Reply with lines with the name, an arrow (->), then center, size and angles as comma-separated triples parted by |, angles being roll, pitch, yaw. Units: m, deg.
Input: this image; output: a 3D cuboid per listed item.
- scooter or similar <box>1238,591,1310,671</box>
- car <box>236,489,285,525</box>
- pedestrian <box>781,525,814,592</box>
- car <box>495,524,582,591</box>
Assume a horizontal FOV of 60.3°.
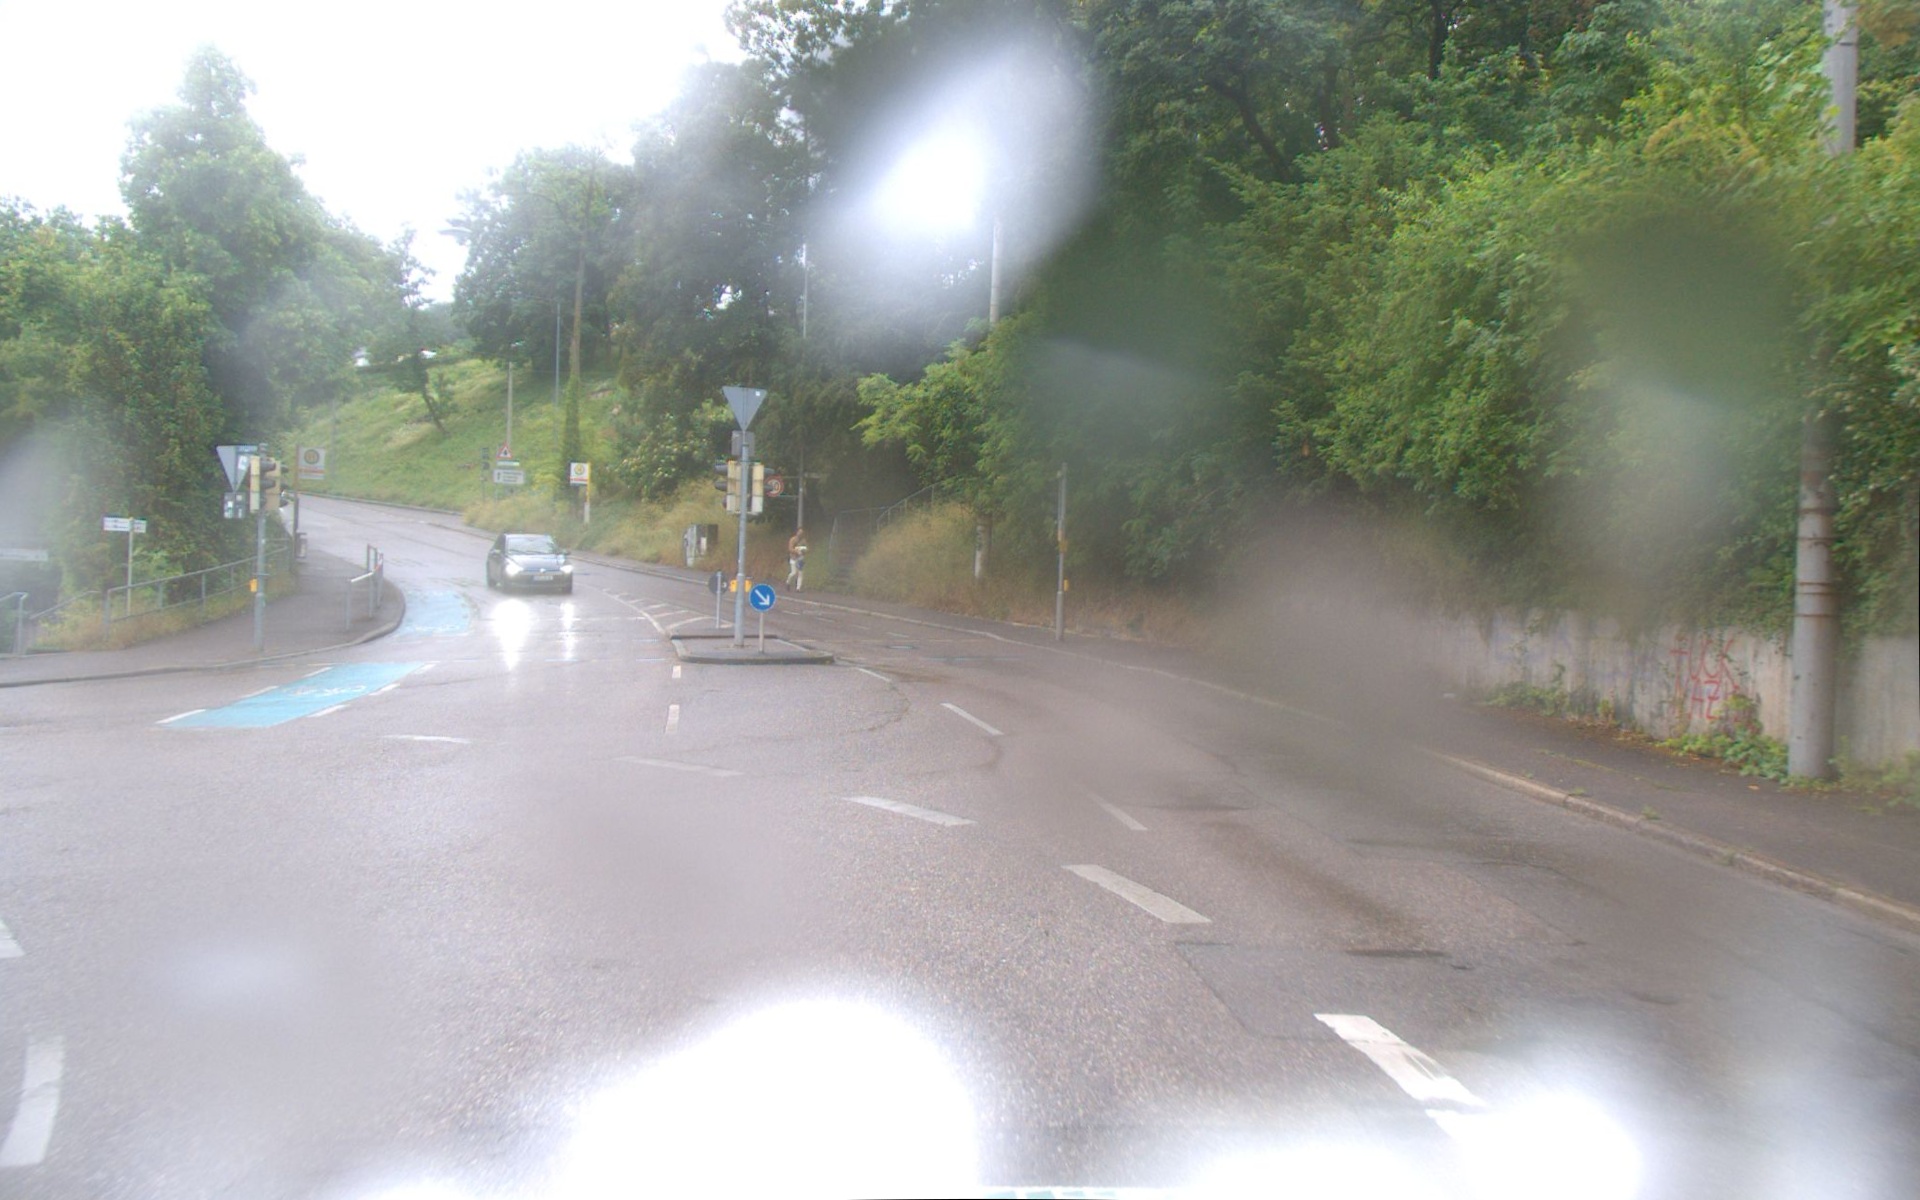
scooter or similar -> 4.627, 0.443, 24.475 | 0.590, 1.094, 1.768 | 1, 1, -4
car -> -36.795, -4.907, 87.011 | 1.818, 1.720, 3.959 | -1, 5, -32
pedestrian -> -4.451, -1.137, 45.309 | 0.638, 1.783, 0.793 | 2, 3, -24
car -> -11.244, -1.180, 43.934 | 1.854, 1.547, 4.668 | -1, 4, -19
